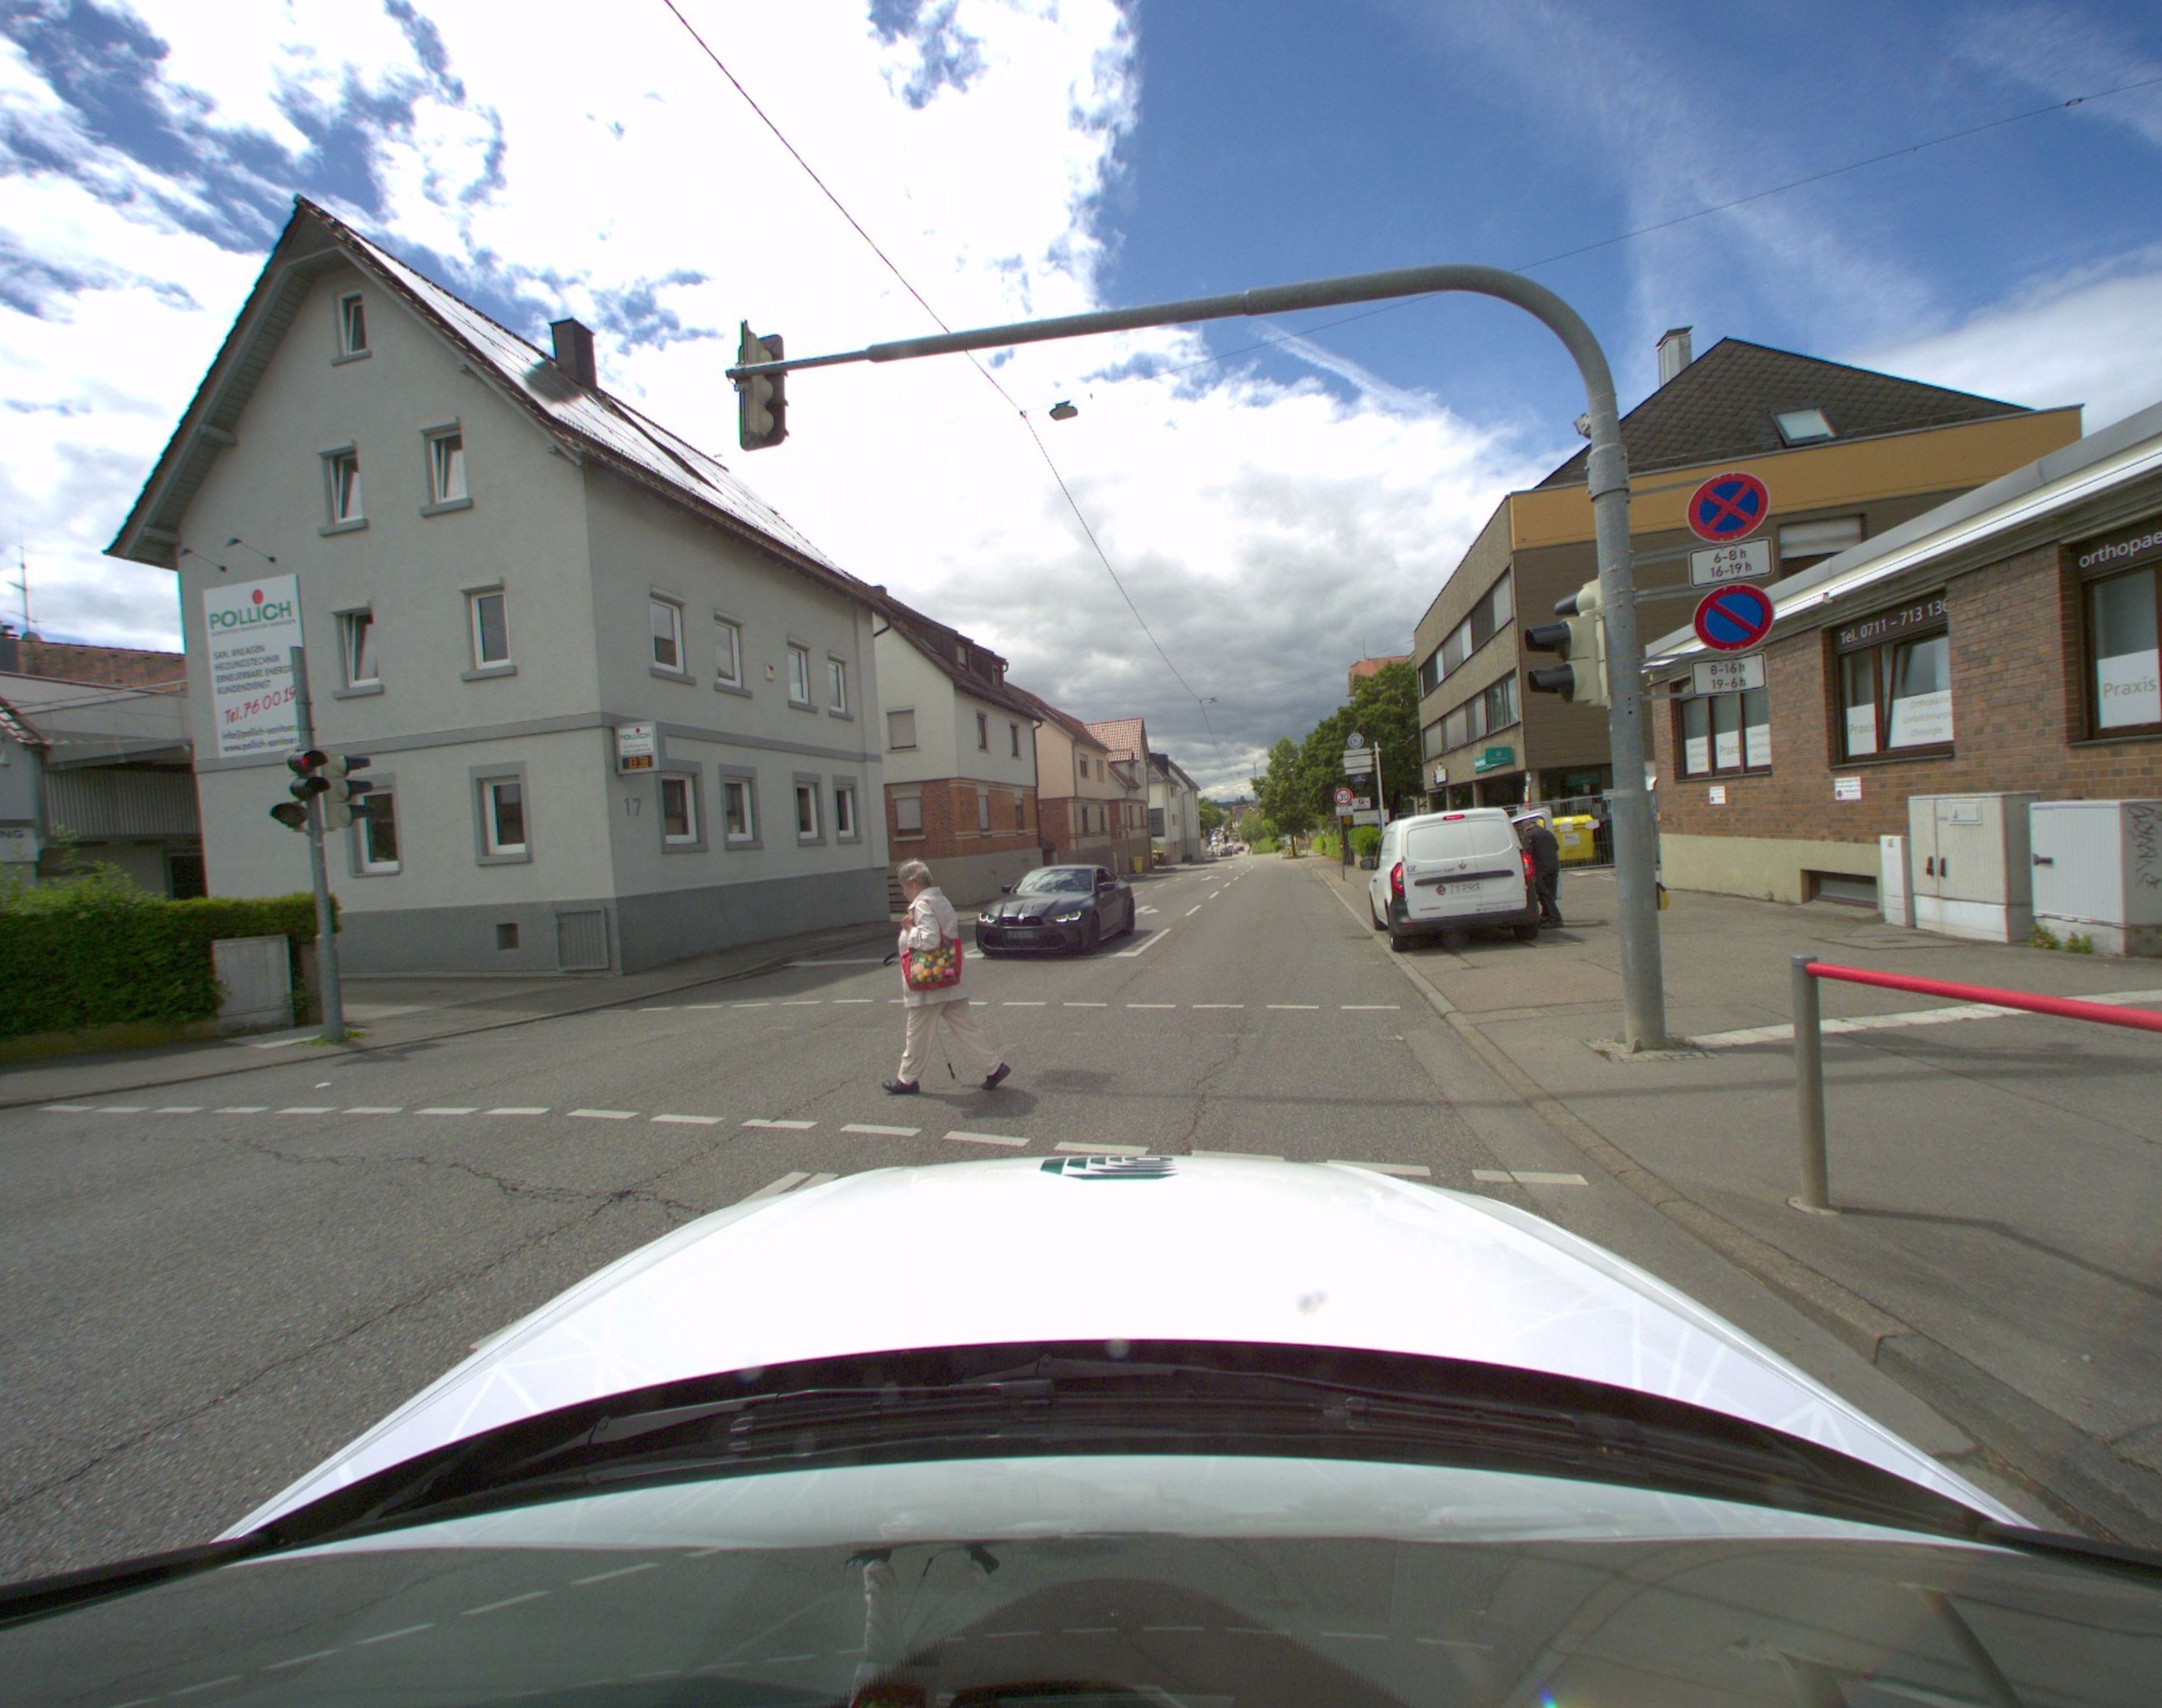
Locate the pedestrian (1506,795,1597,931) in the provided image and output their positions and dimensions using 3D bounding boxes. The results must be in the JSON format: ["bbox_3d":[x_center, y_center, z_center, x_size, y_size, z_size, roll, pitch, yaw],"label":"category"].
[{"bbox_3d":[6.631,0.130,11.520,0.837,1.803,0.653,-5,0,13],"label":"pedestrian"}]

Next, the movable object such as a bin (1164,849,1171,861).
[{"bbox_3d":[7.820,0.052,73.328,0.528,1.030,0.456,-4,0,12],"label":"movable object such as a bin"}]

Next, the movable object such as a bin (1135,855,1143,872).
[{"bbox_3d":[3.994,0.643,55.960,0.428,1.128,0.300,-5,0,12],"label":"movable object such as a bin"}]

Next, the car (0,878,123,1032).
[{"bbox_3d":[-15.191,1.426,9.911,1.979,1.947,4.016,-5,0,15],"label":"car"}]

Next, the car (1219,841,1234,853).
[{"bbox_3d":[24.385,-1.161,136.486,1.984,2.013,4.006,-4,0,5],"label":"car"}]

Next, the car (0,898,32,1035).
[{"bbox_3d":[-17.490,1.785,10.684,1.978,2.013,4.017,-4,0,16],"label":"car"}]

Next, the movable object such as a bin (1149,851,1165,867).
[{"bbox_3d":[6.699,0.431,71.839,1.274,1.310,0.818,-4,0,8],"label":"movable object such as a bin"}]

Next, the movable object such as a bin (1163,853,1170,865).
[{"bbox_3d":[7.689,0.478,72.924,0.528,1.030,0.456,-4,0,12],"label":"movable object such as a bin"}]

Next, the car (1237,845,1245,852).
[{"bbox_3d":[46.555,-1.616,237.431,1.981,2.013,4.011,-4,-1,10],"label":"car"}]

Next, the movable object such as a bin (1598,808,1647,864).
[{"bbox_3d":[14.715,-0.497,22.168,0.774,1.439,1.023,-4,2,17],"label":"movable object such as a bin"}]

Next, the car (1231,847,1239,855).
[{"bbox_3d":[41.903,-0.905,222.225,1.981,2.013,4.011,-4,-1,10],"label":"car"}]

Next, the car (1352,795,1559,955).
[{"bbox_3d":[5.341,0.255,12.270,1.897,1.794,4.508,-7,-1,15],"label":"car"}]

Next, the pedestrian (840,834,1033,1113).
[{"bbox_3d":[-0.927,0.714,5.346,0.863,1.637,0.841,-2,-1,25],"label":"pedestrian"}]

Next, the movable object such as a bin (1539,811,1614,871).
[{"bbox_3d":[13.643,-0.369,22.492,1.471,1.492,1.081,-4,2,17],"label":"movable object such as a bin"}]

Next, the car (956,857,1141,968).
[{"bbox_3d":[-0.341,0.903,14.502,1.979,1.457,4.635,-5,0,14],"label":"car"}]
